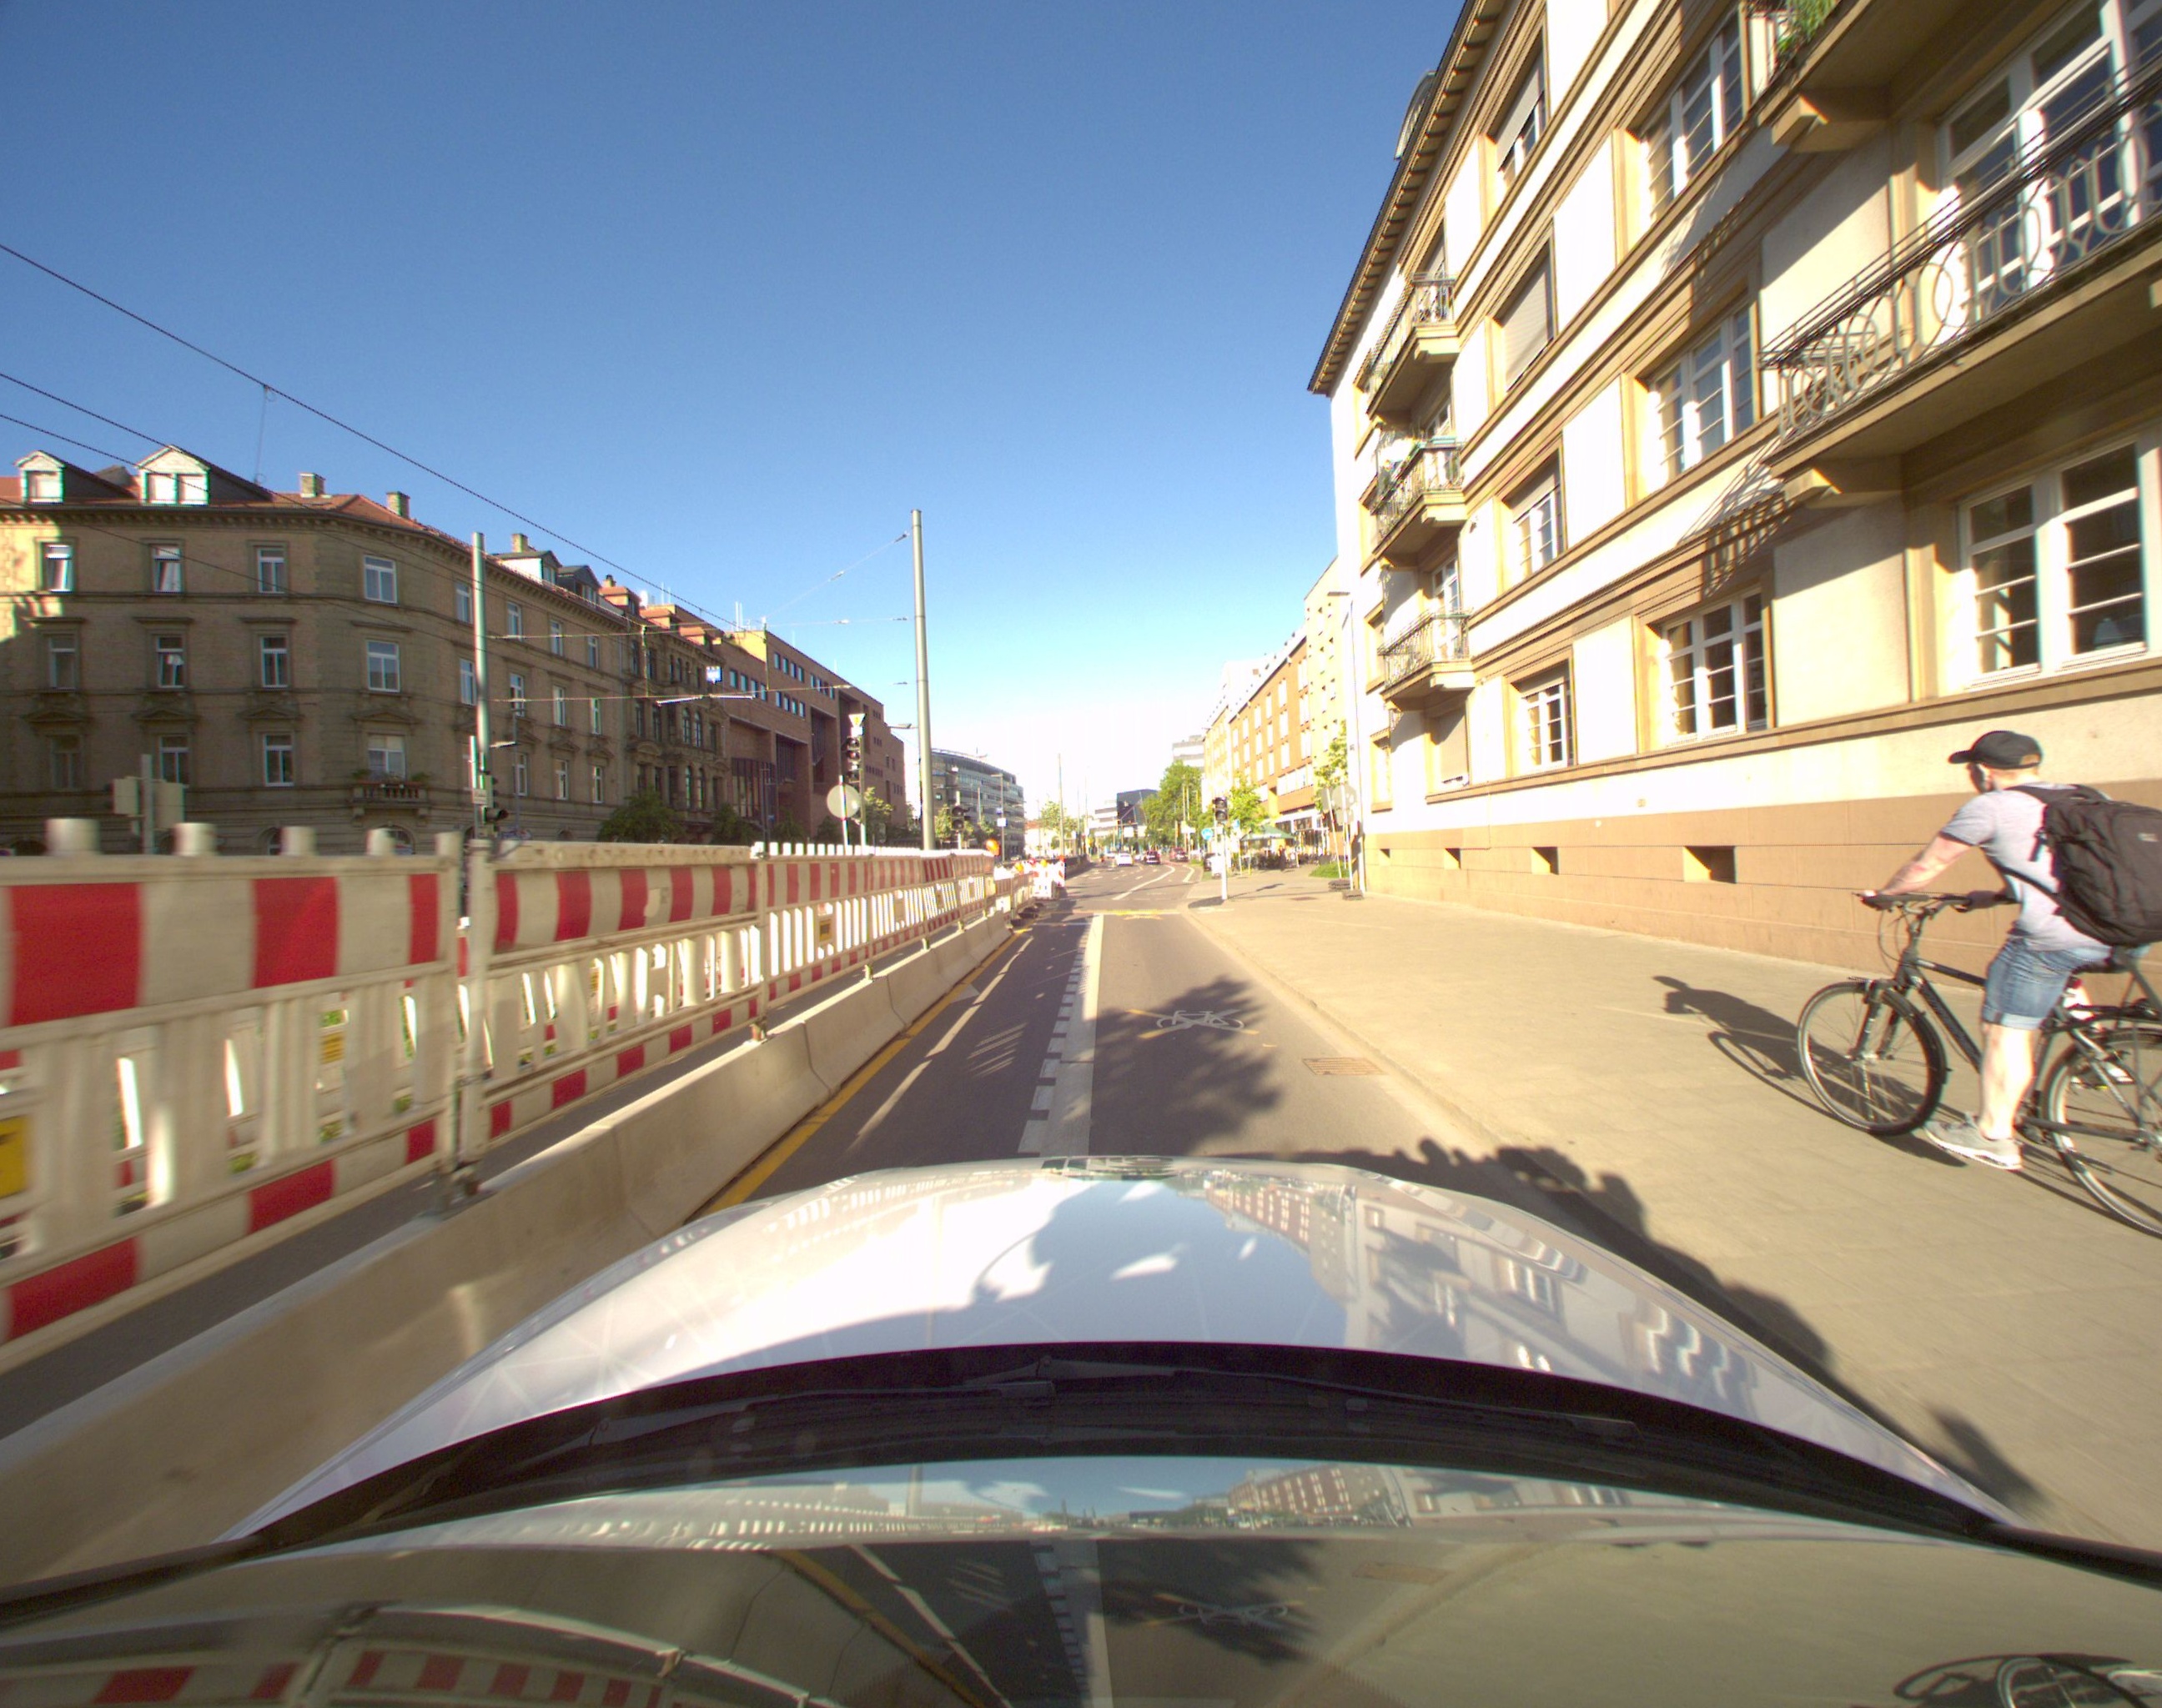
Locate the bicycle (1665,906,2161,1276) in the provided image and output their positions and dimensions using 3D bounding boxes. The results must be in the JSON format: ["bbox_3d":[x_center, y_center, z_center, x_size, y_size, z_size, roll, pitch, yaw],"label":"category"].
[{"bbox_3d":[3.632,0.779,3.439,0.764,0.953,2.199,-2,0,1],"label":"bicycle"}]

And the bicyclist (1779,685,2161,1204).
[{"bbox_3d":[3.602,0.308,3.272,0.730,1.763,0.938,-2,-1,1],"label":"bicyclist"}]

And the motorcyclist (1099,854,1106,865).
[{"bbox_3d":[3.112,0.807,119.833,1.015,1.603,1.149,0,0,2],"label":"motorcyclist"}]

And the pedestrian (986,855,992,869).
[{"bbox_3d":[-10.716,0.940,94.536,0.638,1.696,0.541,0,0,2],"label":"pedestrian"}]

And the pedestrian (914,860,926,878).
[{"bbox_3d":[-12.385,1.136,62.768,0.643,1.309,0.722,-4,-1,2],"label":"pedestrian"}]

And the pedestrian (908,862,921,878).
[{"bbox_3d":[-12.392,1.210,60.726,0.718,1.168,0.722,-4,-1,2],"label":"pedestrian"}]

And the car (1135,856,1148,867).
[{"bbox_3d":[9.238,1.151,124.338,1.843,1.497,4.381,-1,0,2],"label":"car"}]

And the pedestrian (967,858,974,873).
[{"bbox_3d":[-12.048,1.271,88.637,0.620,1.612,0.616,-1,0,2],"label":"pedestrian"}]

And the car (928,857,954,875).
[{"bbox_3d":[-15.098,1.256,88.163,1.988,1.880,4.581,-2,0,-1],"label":"car"}]

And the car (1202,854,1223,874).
[{"bbox_3d":[11.344,0.828,70.411,1.711,1.637,4.241,-3,0,8],"label":"car"}]

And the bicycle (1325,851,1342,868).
[{"bbox_3d":[18.261,0.374,58.904,0.612,1.169,1.536,-3,0,-1],"label":"bicycle"}]

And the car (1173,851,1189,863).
[{"bbox_3d":[13.673,0.436,111.436,1.839,1.560,4.635,0,0,3],"label":"car"}]

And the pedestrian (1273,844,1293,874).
[{"bbox_3d":[12.443,0.285,50.219,0.876,1.763,1.111,-4,-2,24],"label":"pedestrian"}]

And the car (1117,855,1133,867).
[{"bbox_3d":[5.096,0.786,94.067,1.773,1.414,4.821,0,0,2],"label":"car"}]

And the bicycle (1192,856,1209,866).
[{"bbox_3d":[14.820,0.860,101.054,1.931,1.075,0.556,-3,-1,13],"label":"bicycle"}]

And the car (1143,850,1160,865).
[{"bbox_3d":[8.584,0.382,99.624,1.967,1.759,4.635,0,0,3],"label":"car"}]

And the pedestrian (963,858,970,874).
[{"bbox_3d":[-12.303,1.240,87.372,0.620,1.714,0.616,-1,0,2],"label":"pedestrian"}]

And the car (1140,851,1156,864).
[{"bbox_3d":[8.775,0.420,107.212,1.844,1.639,4.381,-1,0,2],"label":"car"}]

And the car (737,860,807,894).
[{"bbox_3d":[-16.488,1.200,43.676,1.789,1.640,4.480,-2,0,3],"label":"car"}]

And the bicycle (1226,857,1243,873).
[{"bbox_3d":[11.372,0.858,60.469,0.763,1.081,1.997,-7,-1,-1],"label":"bicycle"}]

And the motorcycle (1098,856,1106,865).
[{"bbox_3d":[3.118,0.981,119.828,1.015,1.312,2.916,0,0,3],"label":"motorcycle"}]
